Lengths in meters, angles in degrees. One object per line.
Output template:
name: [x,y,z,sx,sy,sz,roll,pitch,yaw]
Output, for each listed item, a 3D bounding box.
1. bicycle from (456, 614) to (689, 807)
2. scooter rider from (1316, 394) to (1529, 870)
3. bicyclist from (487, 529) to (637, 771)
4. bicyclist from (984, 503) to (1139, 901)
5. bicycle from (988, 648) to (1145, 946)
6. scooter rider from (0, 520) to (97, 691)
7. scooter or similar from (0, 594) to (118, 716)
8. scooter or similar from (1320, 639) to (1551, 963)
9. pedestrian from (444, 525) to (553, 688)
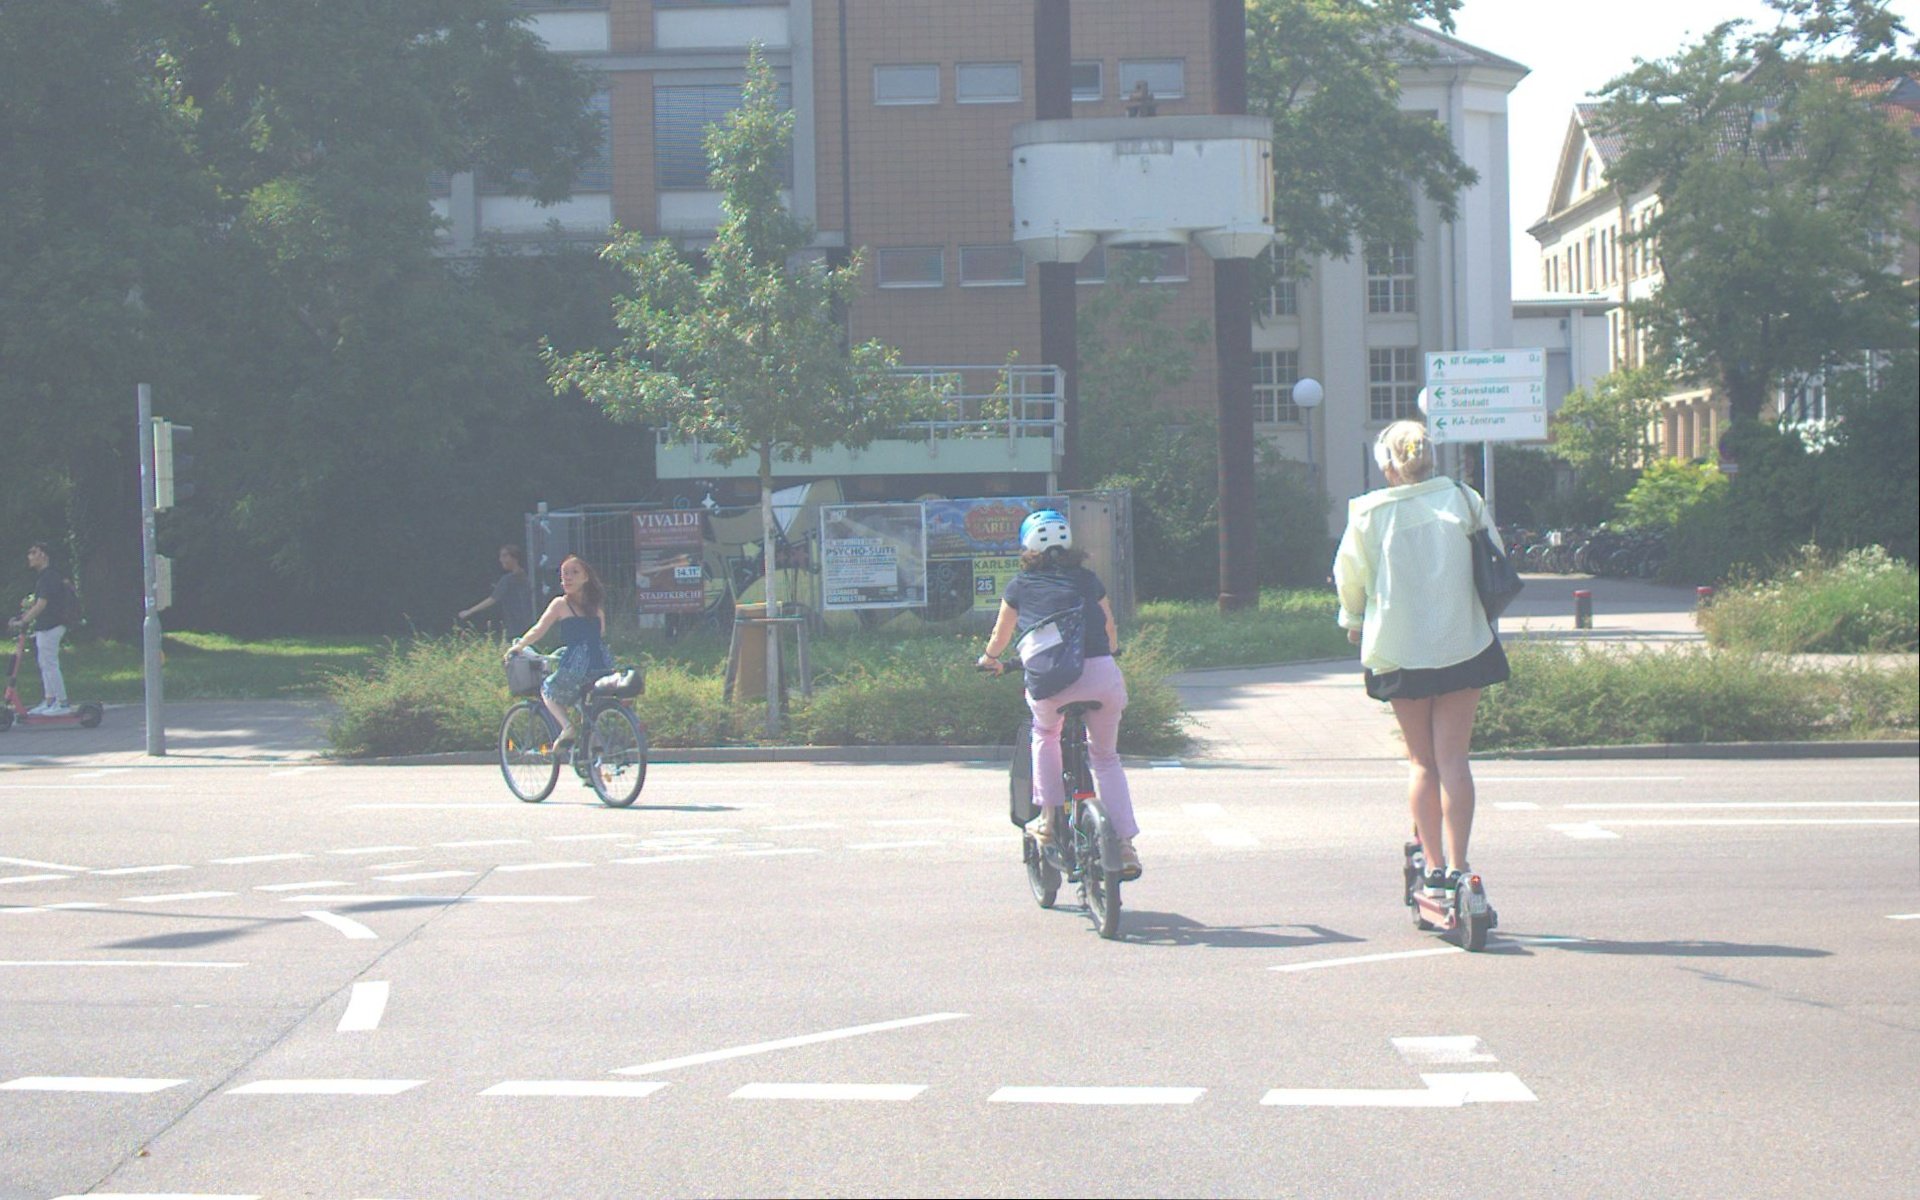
bicycle: [-2.688,0.727,23.614,0.693,1.151,2.371,-3,3,-29]
scooter rider: [1.690,0.115,12.620,0.670,1.694,0.539,-2,0,1]
bicyclist: [-2.745,0.328,23.675,0.690,1.593,0.844,-4,3,-29]
bicyclist: [0.387,0.382,13.367,0.548,1.491,0.803,-1,0,1]
bicycle: [0.401,0.740,13.674,0.556,1.056,2.004,-1,0,1]
scooter rider: [-9.512,0.054,35.643,0.803,1.733,0.688,-1,1,21]
scooter or similar: [-9.509,0.568,35.714,1.365,1.230,0.585,-1,1,22]
scooter or similar: [1.705,0.688,12.573,0.556,1.056,2.004,-2,0,1]
pedestrian: [-4.941,0.066,36.808,0.877,1.698,0.707,-1,3,18]
